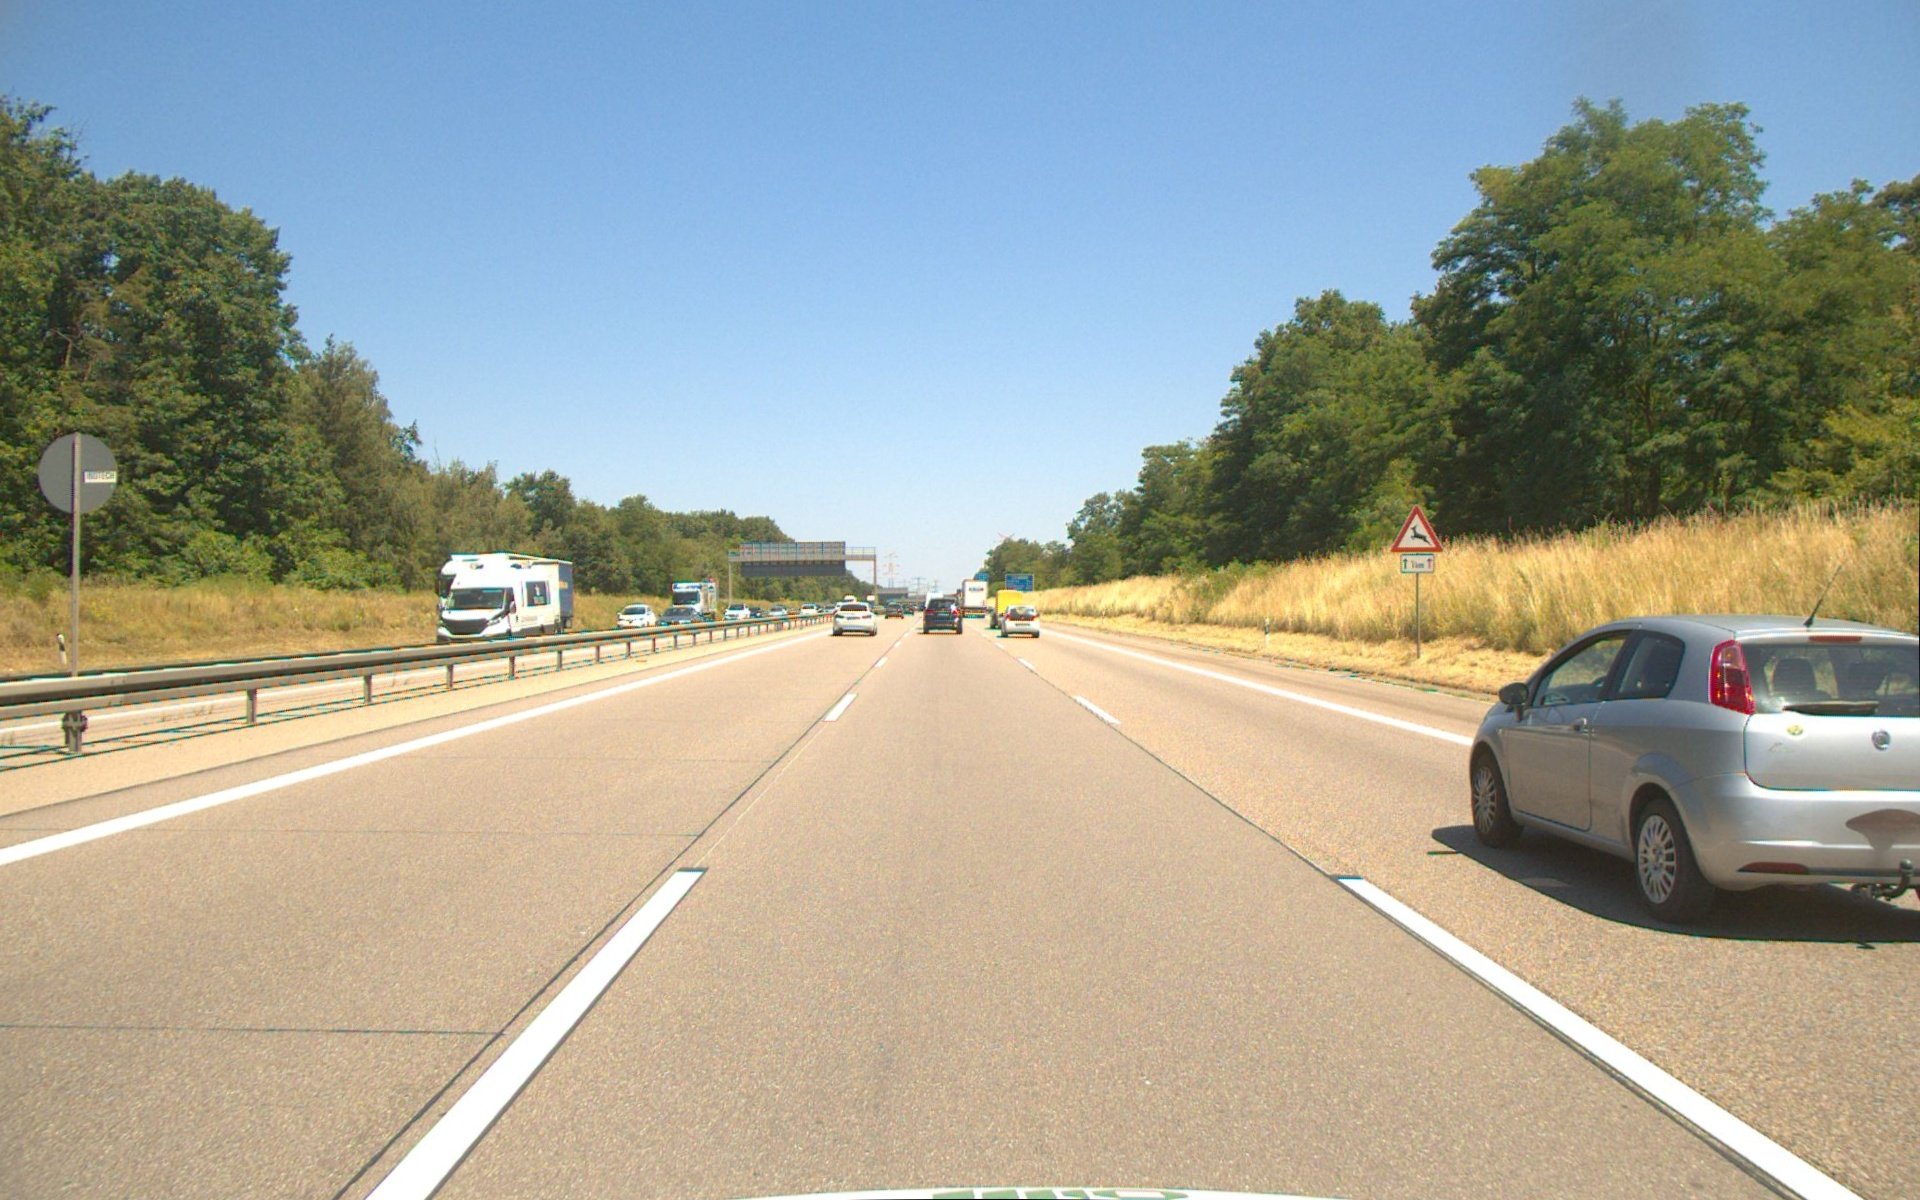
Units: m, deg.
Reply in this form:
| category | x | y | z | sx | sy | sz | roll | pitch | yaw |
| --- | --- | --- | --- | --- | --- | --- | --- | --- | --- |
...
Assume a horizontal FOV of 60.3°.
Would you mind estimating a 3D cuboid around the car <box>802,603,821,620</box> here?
| category | x | y | z | sx | sy | sz | roll | pitch | yaw |
| --- | --- | --- | --- | --- | --- | --- | --- | --- | --- |
| car | -14.361 | 1.090 | 160.345 | 1.486 | 1.493 | 3.639 | -3 | 0 | -1 |

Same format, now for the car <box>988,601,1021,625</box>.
| category | x | y | z | sx | sy | sz | roll | pitch | yaw |
| --- | --- | --- | --- | --- | --- | --- | --- | --- | --- |
| car | 2.777 | 0.817 | 103.299 | 1.784 | 1.481 | 4.786 | 1 | 0 | -2 |

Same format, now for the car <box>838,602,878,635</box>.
| category | x | y | z | sx | sy | sz | roll | pitch | yaw |
| --- | --- | --- | --- | --- | --- | --- | --- | --- | --- |
| car | -4.506 | 0.791 | 73.334 | 1.635 | 1.426 | 3.711 | 0 | 0 | -2 |

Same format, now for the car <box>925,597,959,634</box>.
| category | x | y | z | sx | sy | sz | roll | pitch | yaw |
| --- | --- | --- | --- | --- | --- | --- | --- | --- | --- |
| car | -0.872 | 0.750 | 80.889 | 1.593 | 1.785 | 3.804 | 1 | 0 | -1 |

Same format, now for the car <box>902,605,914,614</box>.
| category | x | y | z | sx | sy | sz | roll | pitch | yaw |
| --- | --- | --- | --- | --- | --- | --- | --- | --- | --- |
| car | -6.576 | 1.203 | 208.569 | 1.377 | 1.151 | 3.357 | 1 | 0 | -1 |

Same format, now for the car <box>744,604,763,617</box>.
| category | x | y | z | sx | sy | sz | roll | pitch | yaw |
| --- | --- | --- | --- | --- | --- | --- | --- | --- | --- |
| car | -23.620 | 1.183 | 189.342 | 1.621 | 1.435 | 5.175 | -3 | 0 | -1 |

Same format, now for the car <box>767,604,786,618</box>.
| category | x | y | z | sx | sy | sz | roll | pitch | yaw |
| --- | --- | --- | --- | --- | --- | --- | --- | --- | --- |
| car | -19.954 | 1.232 | 179.968 | 1.726 | 1.432 | 4.351 | -3 | 0 | -2 |

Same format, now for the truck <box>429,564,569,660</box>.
| category | x | y | z | sx | sy | sz | roll | pitch | yaw |
| --- | --- | --- | --- | --- | --- | --- | --- | --- | --- |
| truck | -14.263 | 0.356 | 51.761 | 2.040 | 2.668 | 8.030 | -3 | 0 | 0 |

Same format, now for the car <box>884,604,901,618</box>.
| category | x | y | z | sx | sy | sz | roll | pitch | yaw |
| --- | --- | --- | --- | --- | --- | --- | --- | --- | --- |
| car | -6.469 | 1.059 | 158.687 | 1.574 | 1.323 | 3.673 | 1 | 0 | -1 |

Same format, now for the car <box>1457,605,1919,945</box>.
| category | x | y | z | sx | sy | sz | roll | pitch | yaw |
| --- | --- | --- | --- | --- | --- | --- | --- | --- | --- |
| car | 4.266 | 0.789 | 9.316 | 1.709 | 1.491 | 3.980 | 1 | 0 | 0 |

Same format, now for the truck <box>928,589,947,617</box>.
| category | x | y | z | sx | sy | sz | roll | pitch | yaw |
| --- | --- | --- | --- | --- | --- | --- | --- | --- | --- |
| truck | -2.460 | 0.326 | 181.457 | 2.018 | 2.965 | 7.001 | 0 | -1 | -1 |

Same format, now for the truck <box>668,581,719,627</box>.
| category | x | y | z | sx | sy | sz | roll | pitch | yaw |
| --- | --- | --- | --- | --- | --- | --- | --- | --- | --- |
| truck | -22.318 | 0.324 | 139.261 | 2.677 | 3.580 | 10.438 | -3 | 0 | -1 |

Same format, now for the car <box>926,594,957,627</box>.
| category | x | y | z | sx | sy | sz | roll | pitch | yaw |
| --- | --- | --- | --- | --- | --- | --- | --- | --- | --- |
| car | -1.124 | 0.623 | 97.823 | 1.777 | 1.859 | 5.109 | 0 | -1 | -1 |

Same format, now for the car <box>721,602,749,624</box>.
| category | x | y | z | sx | sy | sz | roll | pitch | yaw |
| --- | --- | --- | --- | --- | --- | --- | --- | --- | --- |
| car | -18.924 | 1.093 | 139.203 | 1.692 | 1.675 | 5.086 | -3 | 0 | -2 |

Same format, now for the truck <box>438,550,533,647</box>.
| category | x | y | z | sx | sy | sz | roll | pitch | yaw |
| --- | --- | --- | --- | --- | --- | --- | --- | --- | --- |
| truck | -21.402 | -0.039 | 74.911 | 2.455 | 4.084 | 6.124 | -3 | 0 | -1 |

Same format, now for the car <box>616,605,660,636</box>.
| category | x | y | z | sx | sy | sz | roll | pitch | yaw |
| --- | --- | --- | --- | --- | --- | --- | --- | --- | --- |
| car | -17.972 | 1.123 | 92.522 | 1.572 | 1.586 | 4.468 | -3 | 0 | -1 |

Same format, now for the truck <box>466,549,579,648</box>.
| category | x | y | z | sx | sy | sz | roll | pitch | yaw |
| --- | --- | --- | --- | --- | --- | --- | --- | --- | --- |
| truck | -17.808 | -0.052 | 67.815 | 2.407 | 3.669 | 8.118 | -3 | 0 | -1 |

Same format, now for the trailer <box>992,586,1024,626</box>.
| category | x | y | z | sx | sy | sz | roll | pitch | yaw |
| --- | --- | --- | --- | --- | --- | --- | --- | --- | --- |
| trailer | 2.863 | 0.372 | 98.984 | 1.669 | 2.330 | 3.838 | 1 | -1 | -2 |

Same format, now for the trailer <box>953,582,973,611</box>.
| category | x | y | z | sx | sy | sz | roll | pitch | yaw |
| --- | --- | --- | --- | --- | --- | --- | --- | --- | --- |
| trailer | 0.390 | -0.472 | 239.183 | 2.628 | 3.904 | 12.006 | 1 | -1 | -1 |

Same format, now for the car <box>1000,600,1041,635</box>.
| category | x | y | z | sx | sy | sz | roll | pitch | yaw |
| --- | --- | --- | --- | --- | --- | --- | --- | --- | --- |
| car | 2.728 | 0.783 | 75.078 | 1.673 | 1.521 | 4.023 | 1 | 0 | -1 |

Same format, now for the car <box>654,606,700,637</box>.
| category | x | y | z | sx | sy | sz | roll | pitch | yaw |
| --- | --- | --- | --- | --- | --- | --- | --- | --- | --- |
| car | -14.057 | 1.053 | 82.392 | 1.572 | 1.423 | 4.543 | -3 | 0 | -2 |

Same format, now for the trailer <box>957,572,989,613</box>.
| category | x | y | z | sx | sy | sz | roll | pitch | yaw |
| --- | --- | --- | --- | --- | --- | --- | --- | --- | --- |
| trailer | 1.398 | -0.734 | 186.469 | 3.219 | 4.293 | 13.560 | 1 | -1 | -1 |
